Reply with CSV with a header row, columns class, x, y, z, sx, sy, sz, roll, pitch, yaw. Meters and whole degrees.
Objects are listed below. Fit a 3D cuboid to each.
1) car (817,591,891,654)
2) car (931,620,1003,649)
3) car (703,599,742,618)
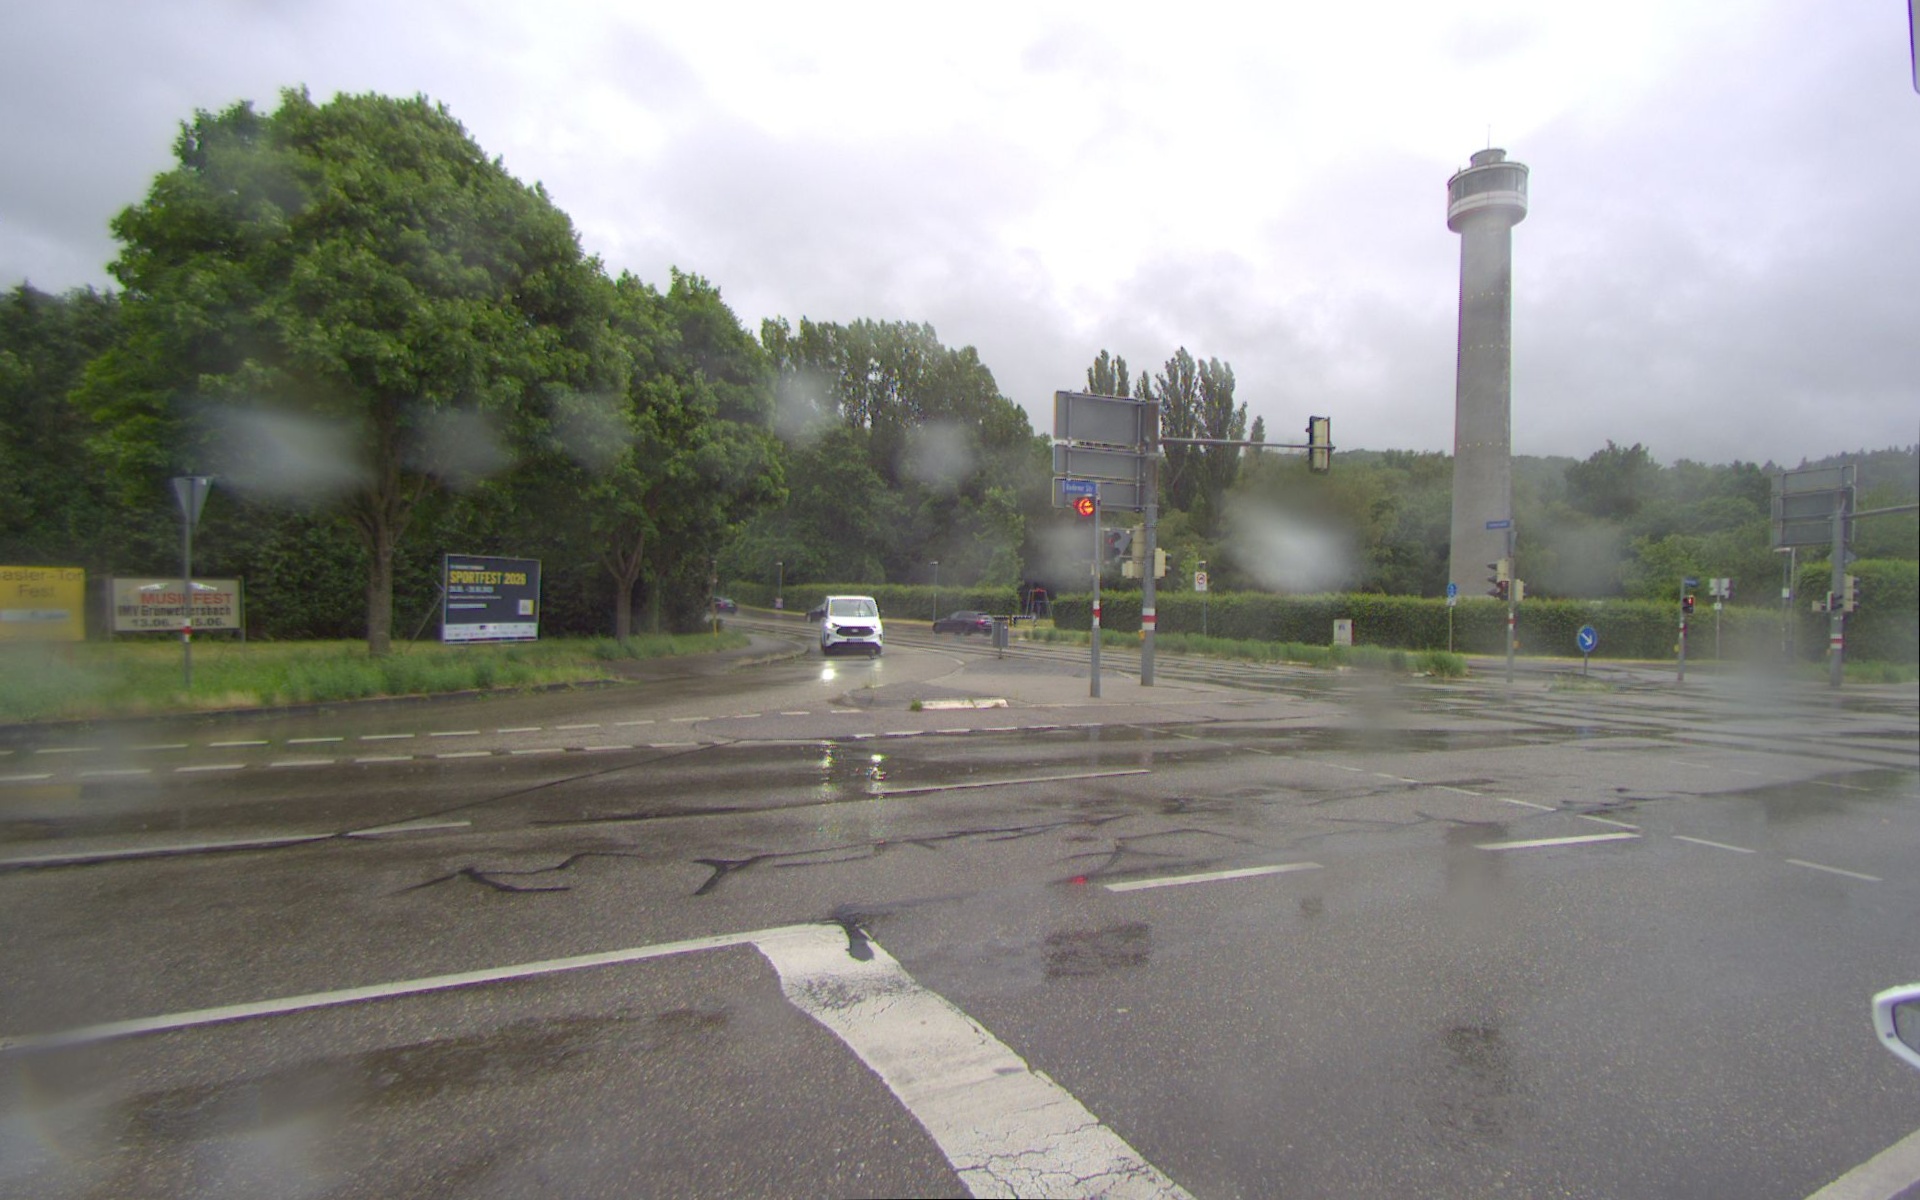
class,x,y,z,sx,sy,sz,roll,pitch,yaw
car,-3.813,0.851,35.278,2.079,2.040,4.743,1,-2,-12
car,0.380,2.021,59.994,1.806,1.574,4.634,1,-1,-38
car,-20.799,0.748,87.863,1.804,1.574,4.639,1,-1,-35
